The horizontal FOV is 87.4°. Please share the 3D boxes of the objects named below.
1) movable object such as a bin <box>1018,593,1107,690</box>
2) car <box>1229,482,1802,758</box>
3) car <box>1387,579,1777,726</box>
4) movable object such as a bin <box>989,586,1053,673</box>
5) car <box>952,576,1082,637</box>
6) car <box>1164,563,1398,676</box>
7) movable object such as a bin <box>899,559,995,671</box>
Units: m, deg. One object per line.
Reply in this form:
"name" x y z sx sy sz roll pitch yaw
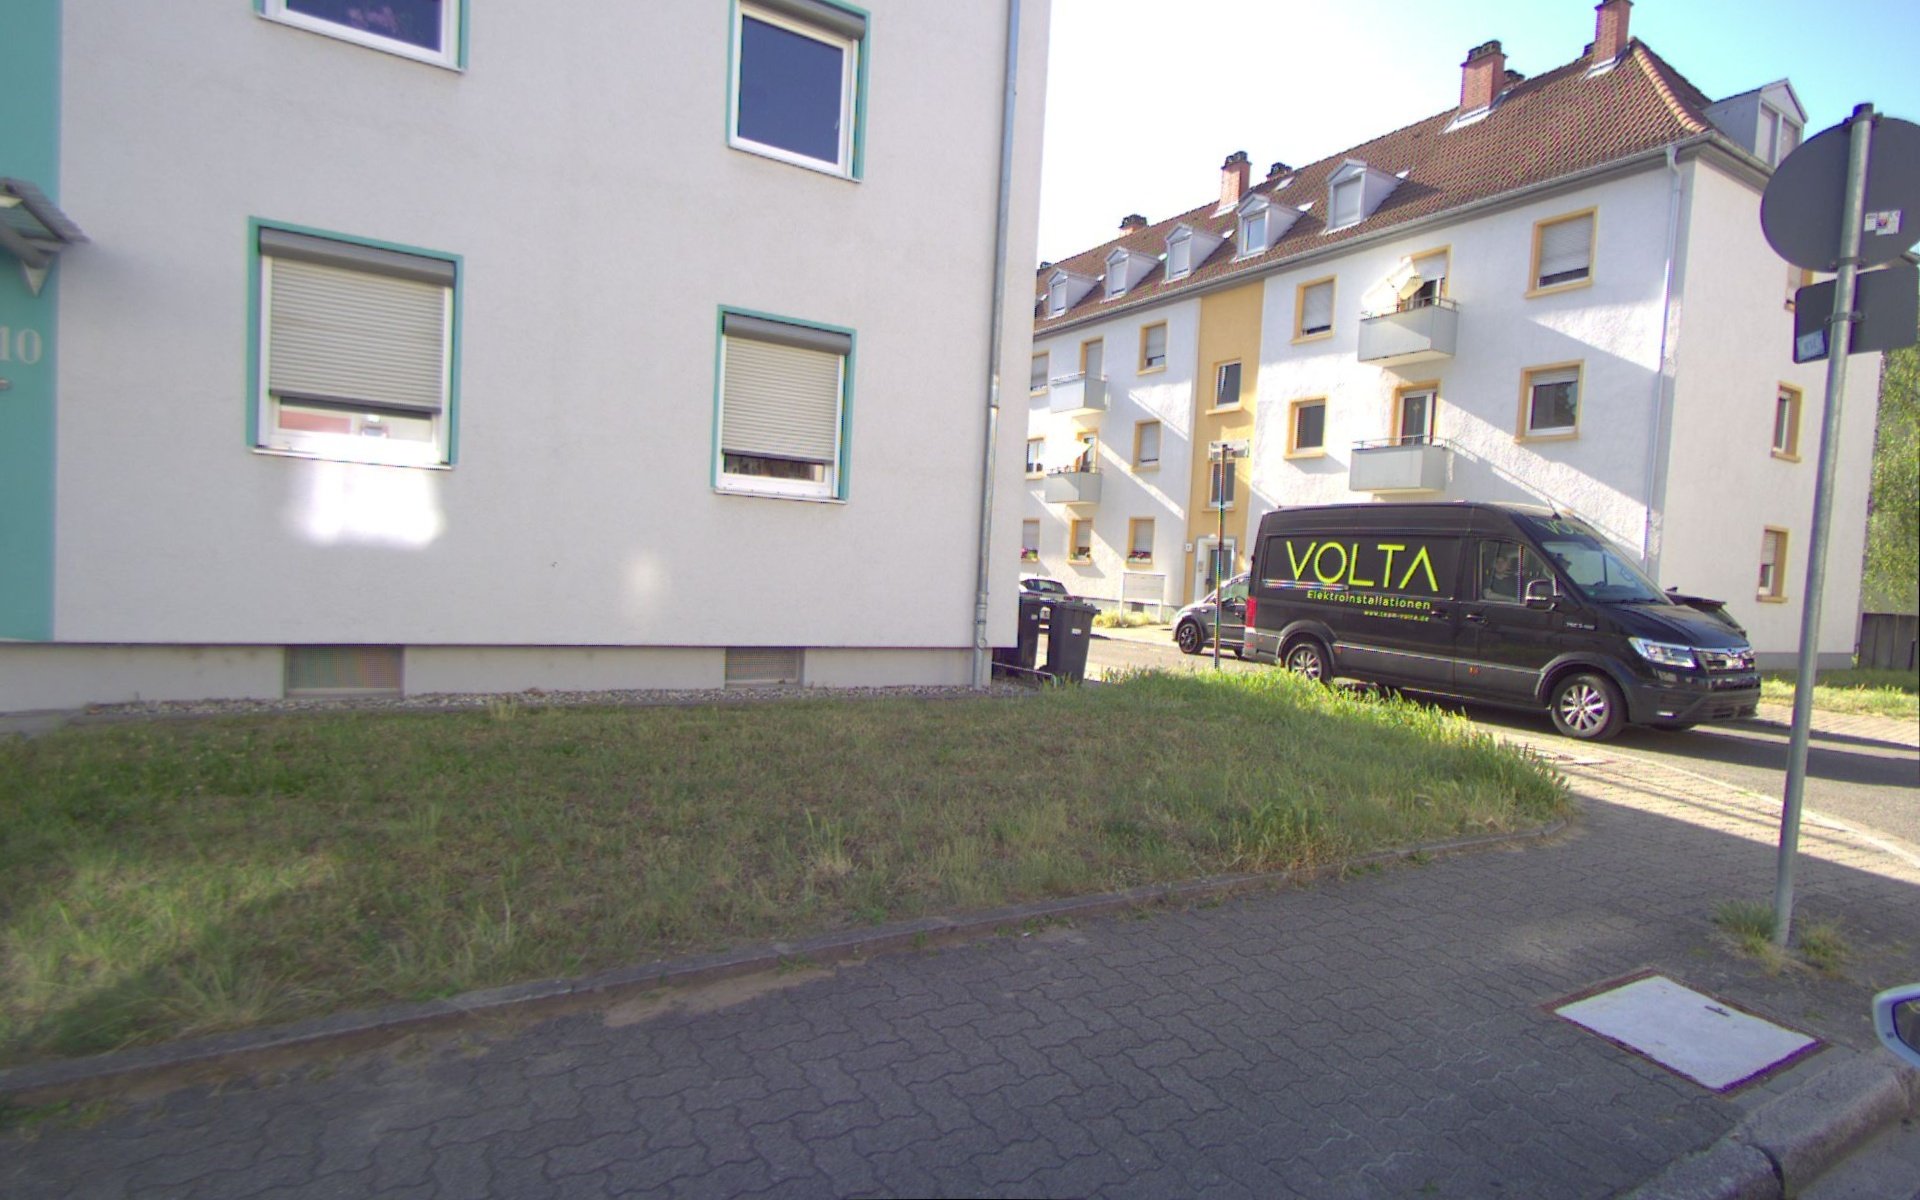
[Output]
"movable object such as a bin" 1.132 0.449 11.135 0.707 1.005 0.609 1 3 -32
"car" 6.300 0.064 12.445 1.978 2.579 5.908 2 2 -31
"car" 8.719 0.651 14.552 1.700 1.685 4.465 4 1 -31
"movable object such as a bin" 0.711 0.340 11.712 0.526 0.962 0.495 2 2 -31
"car" 1.435 0.126 26.545 1.764 1.401 3.540 4 -1 -29
"car" 5.870 0.301 18.840 1.700 1.812 3.970 4 1 -31
"movable object such as a bin" -0.189 0.188 13.557 0.837 1.419 1.057 2 2 -28
